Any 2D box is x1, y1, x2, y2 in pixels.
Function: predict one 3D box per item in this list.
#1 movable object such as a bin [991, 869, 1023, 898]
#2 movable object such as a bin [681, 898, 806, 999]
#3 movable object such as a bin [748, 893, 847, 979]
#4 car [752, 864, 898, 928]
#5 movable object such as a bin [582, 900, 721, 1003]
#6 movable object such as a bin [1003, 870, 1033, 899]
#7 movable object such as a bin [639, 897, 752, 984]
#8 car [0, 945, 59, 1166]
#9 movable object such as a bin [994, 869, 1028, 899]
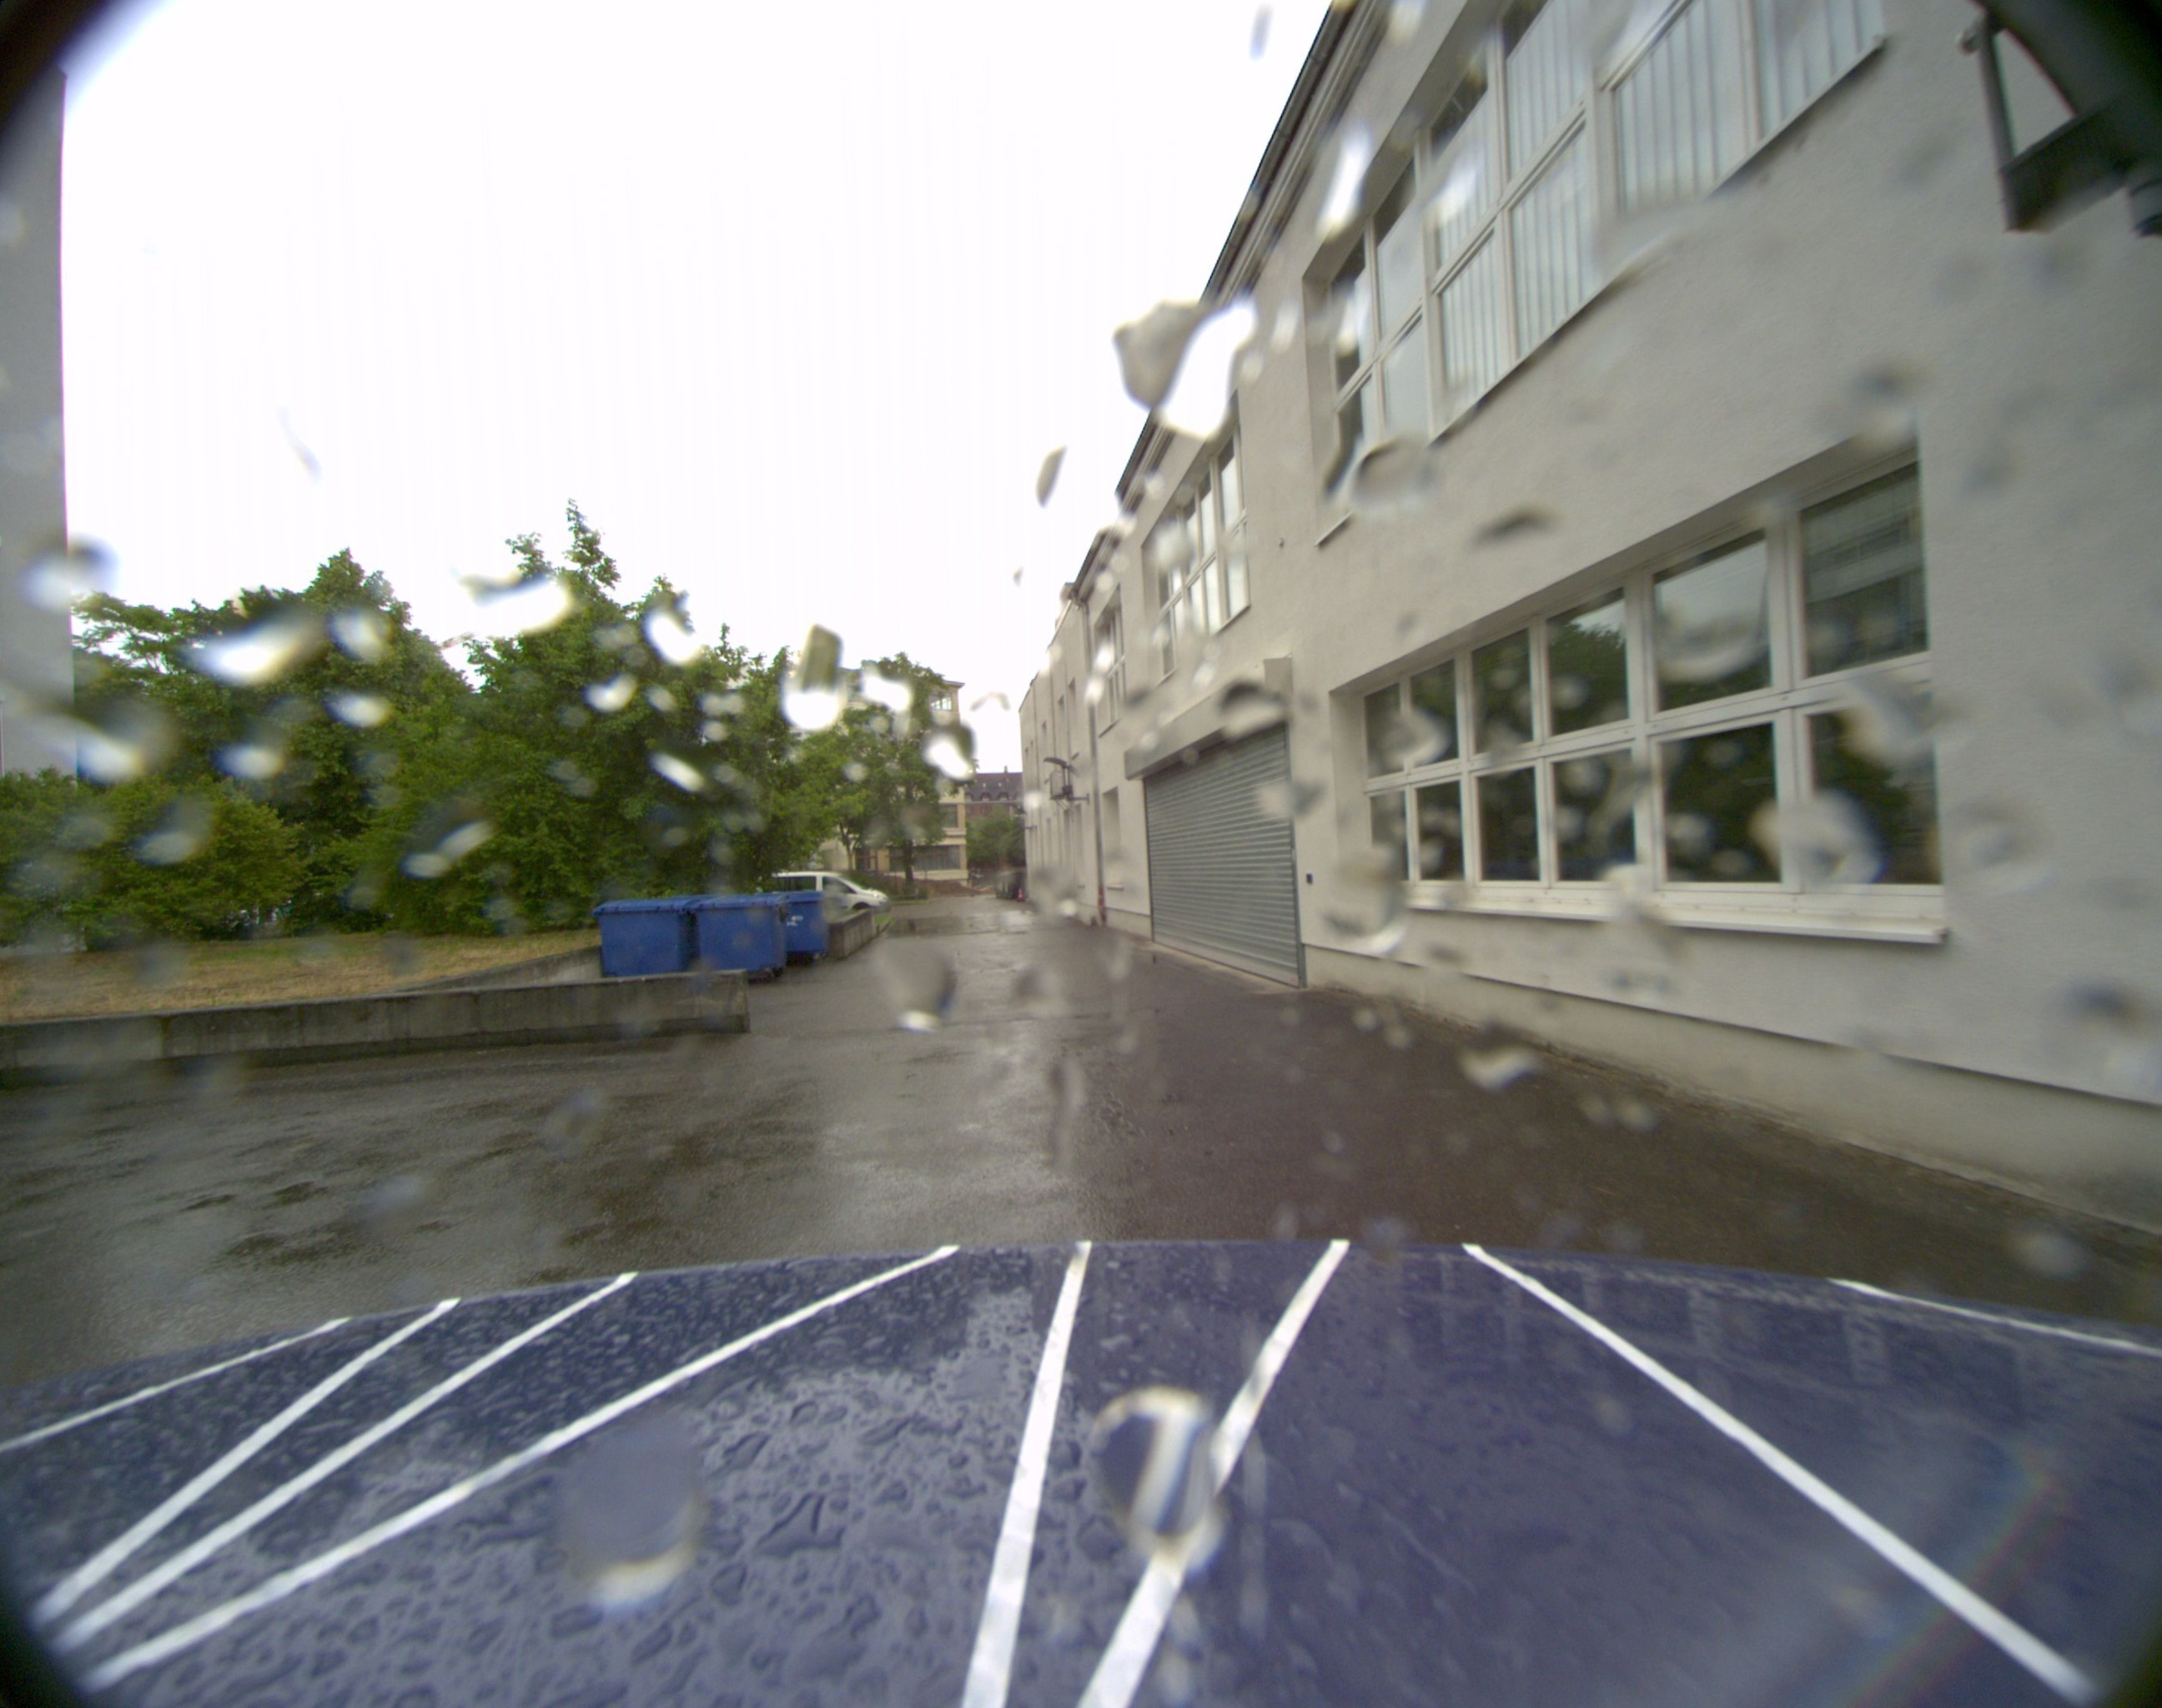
[{"bbox_3d":[-4.066,1.634,41.648,1.493,1.439,1.313,-4,-2,-15],"label":"movable object such as a bin"},{"bbox_3d":[-5.264,1.429,12.035,1.314,1.349,1.904,-4,-2,-11],"label":"movable object such as a bin"},{"bbox_3d":[-5.157,1.458,14.002,1.314,1.349,1.904,-4,-2,-11],"label":"movable object such as a bin"},{"bbox_3d":[-9.409,1.566,28.299,4.697,1.869,2.123,-4,-3,-9],"label":"car"},{"bbox_3d":[-6.565,1.435,11.786,1.233,1.349,1.970,-4,-2,-11],"label":"movable object such as a bin"},{"bbox_3d":[-3.230,1.553,38.882,1.188,1.365,1.313,-4,-2,-15],"label":"movable object such as a bin"},{"bbox_3d":[-6.896,1.498,13.756,1.233,1.349,1.970,-4,-2,-11],"label":"movable object such as a bin"},{"bbox_3d":[-9.373,1.417,4.162,4.222,1.480,1.998,-1,-2,-12],"label":"car"},{"bbox_3d":[-3.731,1.583,40.342,1.493,1.439,1.313,-4,-2,-15],"label":"movable object such as a bin"}]
